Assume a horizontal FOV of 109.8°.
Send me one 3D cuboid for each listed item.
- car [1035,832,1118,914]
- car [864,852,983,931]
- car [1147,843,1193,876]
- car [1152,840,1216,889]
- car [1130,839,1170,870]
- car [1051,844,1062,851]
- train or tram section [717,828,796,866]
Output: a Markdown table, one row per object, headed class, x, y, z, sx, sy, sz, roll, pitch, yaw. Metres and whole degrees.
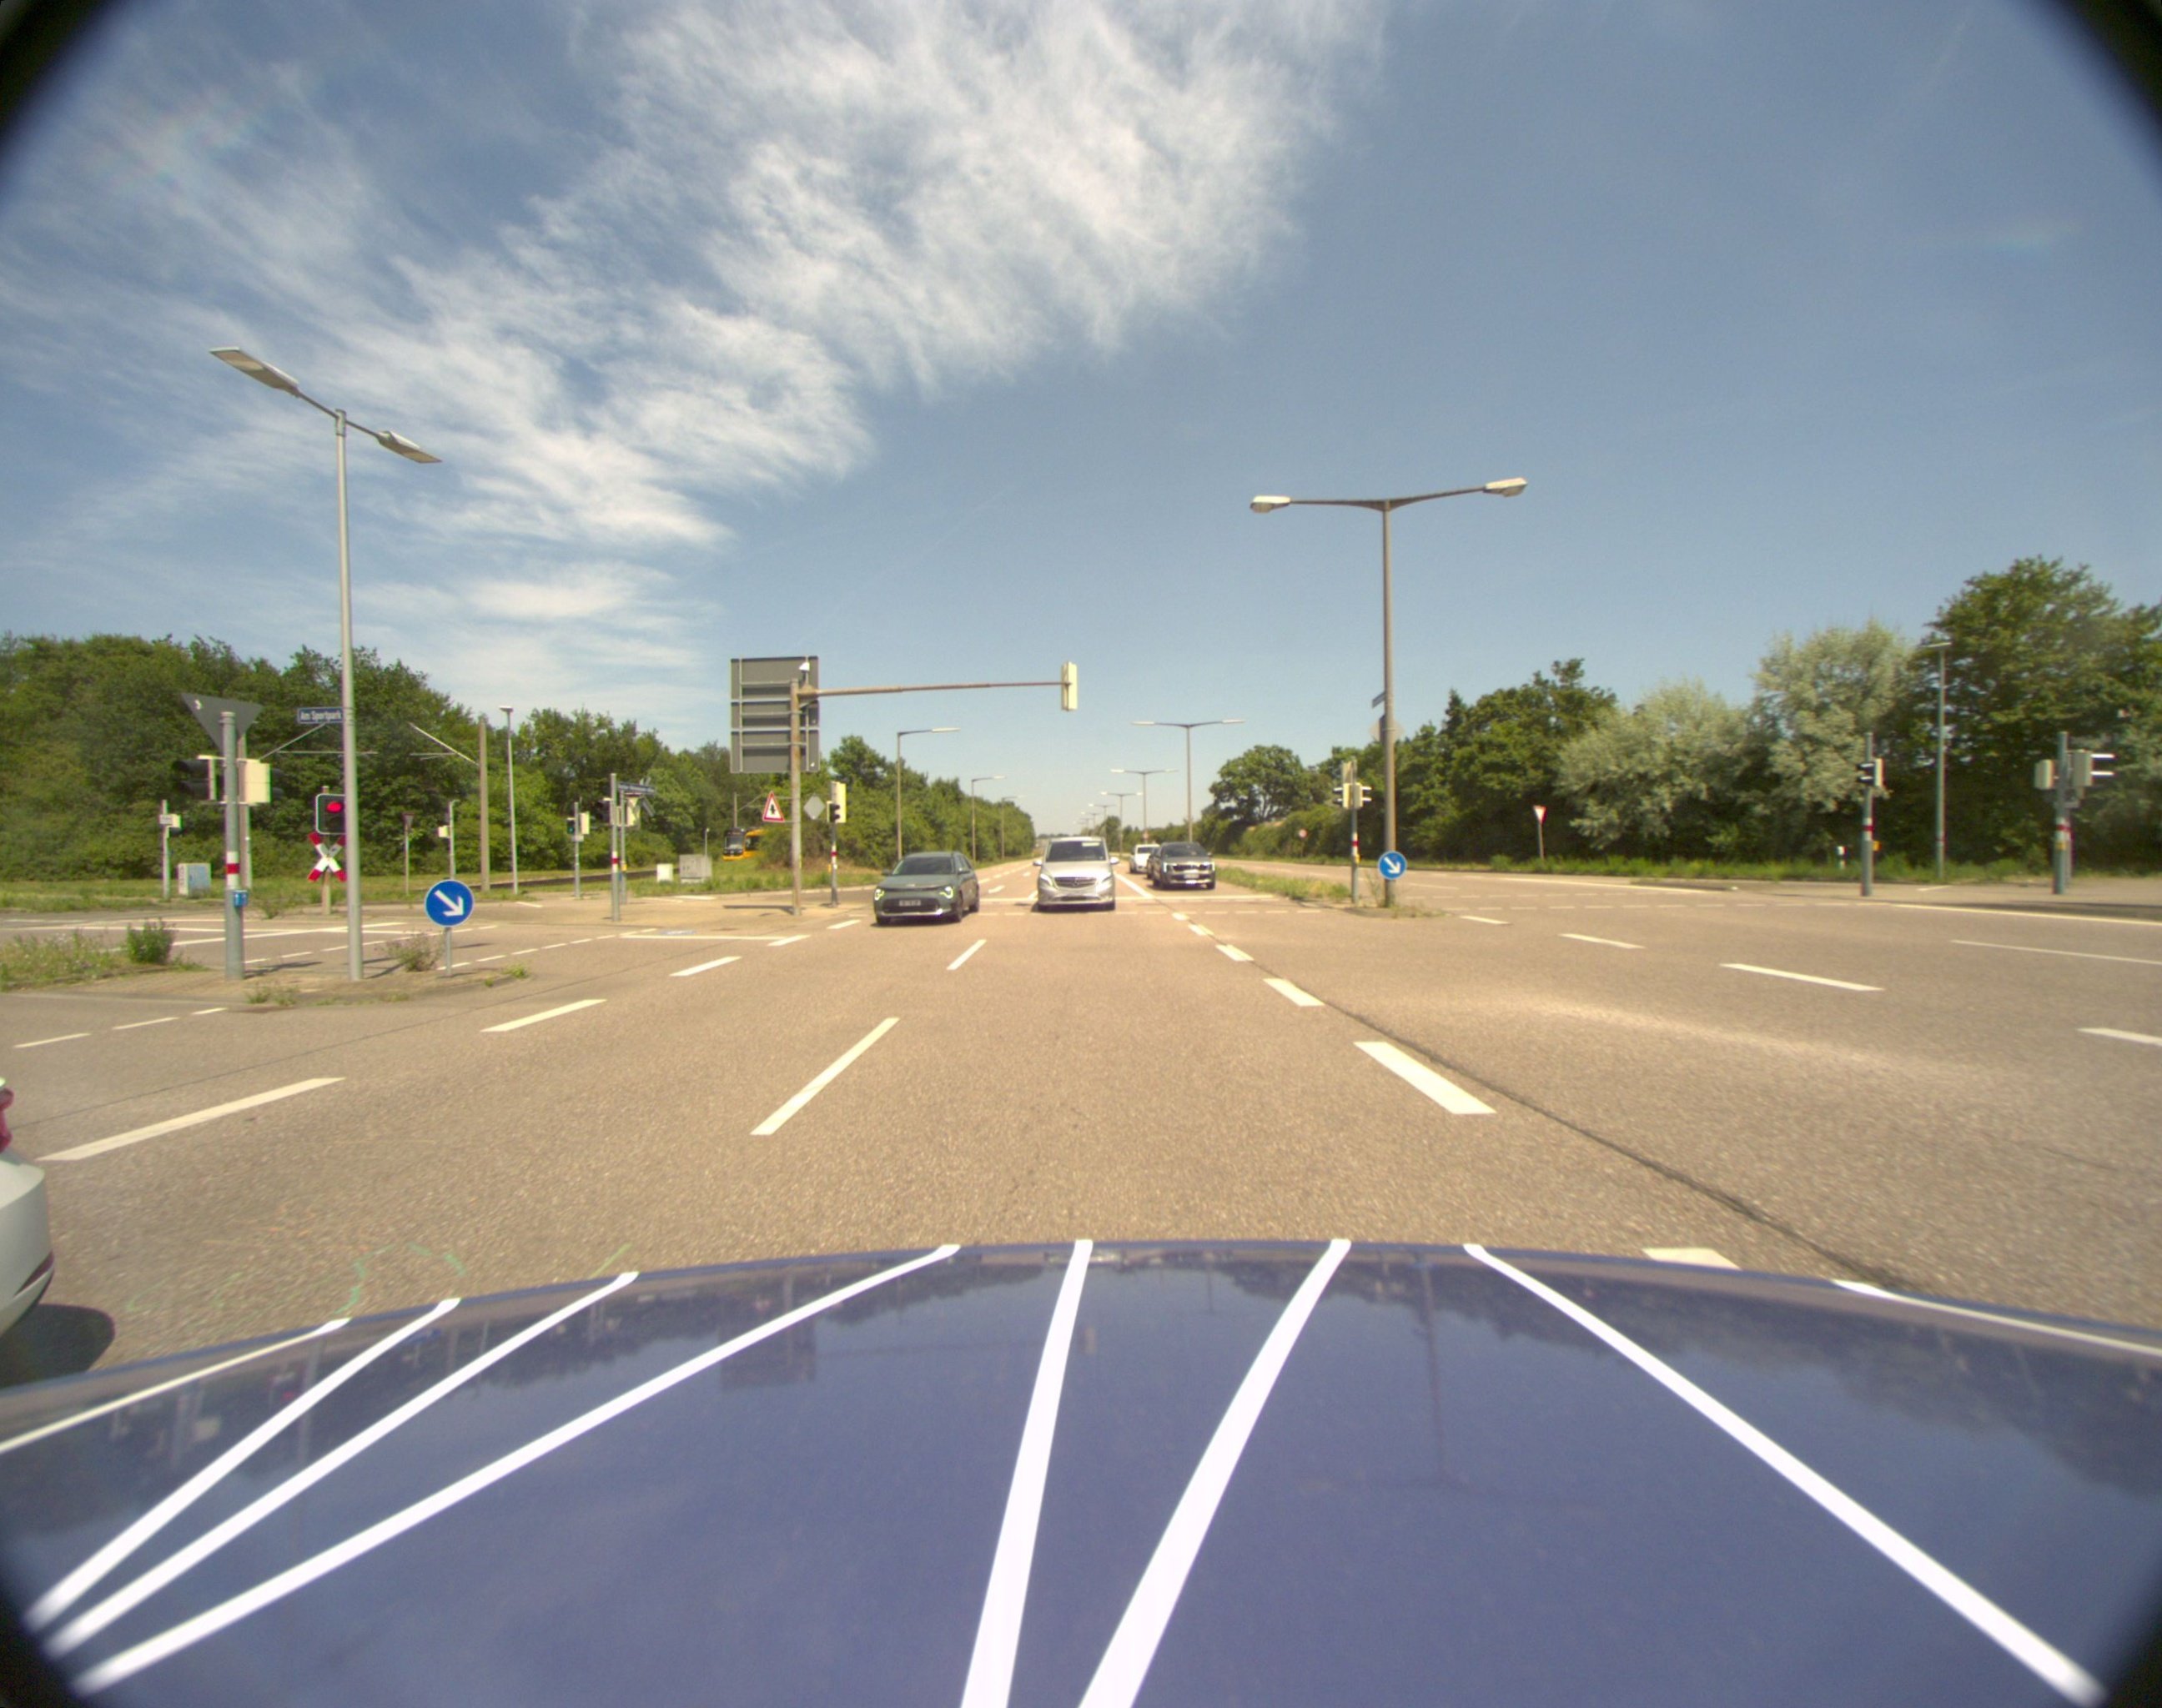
| class | x | y | z | sx | sy | sz | roll | pitch | yaw |
| --- | --- | --- | --- | --- | --- | --- | --- | --- | --- |
| car | -0.016 | 0.402 | 20.367 | 1.876 | 1.866 | 5.731 | -1 | 1 | 2 |
| car | -3.499 | 0.763 | 17.650 | 1.722 | 1.587 | 4.000 | 0 | 1 | 3 |
| car | 4.338 | 0.239 | 37.520 | 1.753 | 1.491 | 3.999 | -2 | 1 | 1 |
| car | 3.733 | 0.324 | 28.286 | 1.785 | 1.658 | 4.530 | -1 | 1 | 0 |
| car | 4.003 | -0.007 | 44.573 | 1.921 | 1.662 | 4.000 | -1 | 2 | 0 |
| car | -5.421 | -1.483 | 168.767 | 1.998 | 1.652 | 4.000 | -1 | 1 | 3 |
| train or tram section | -33.059 | -0.746 | 78.223 | 2.821 | 3.561 | 12.498 | -1 | 1 | 0 |
